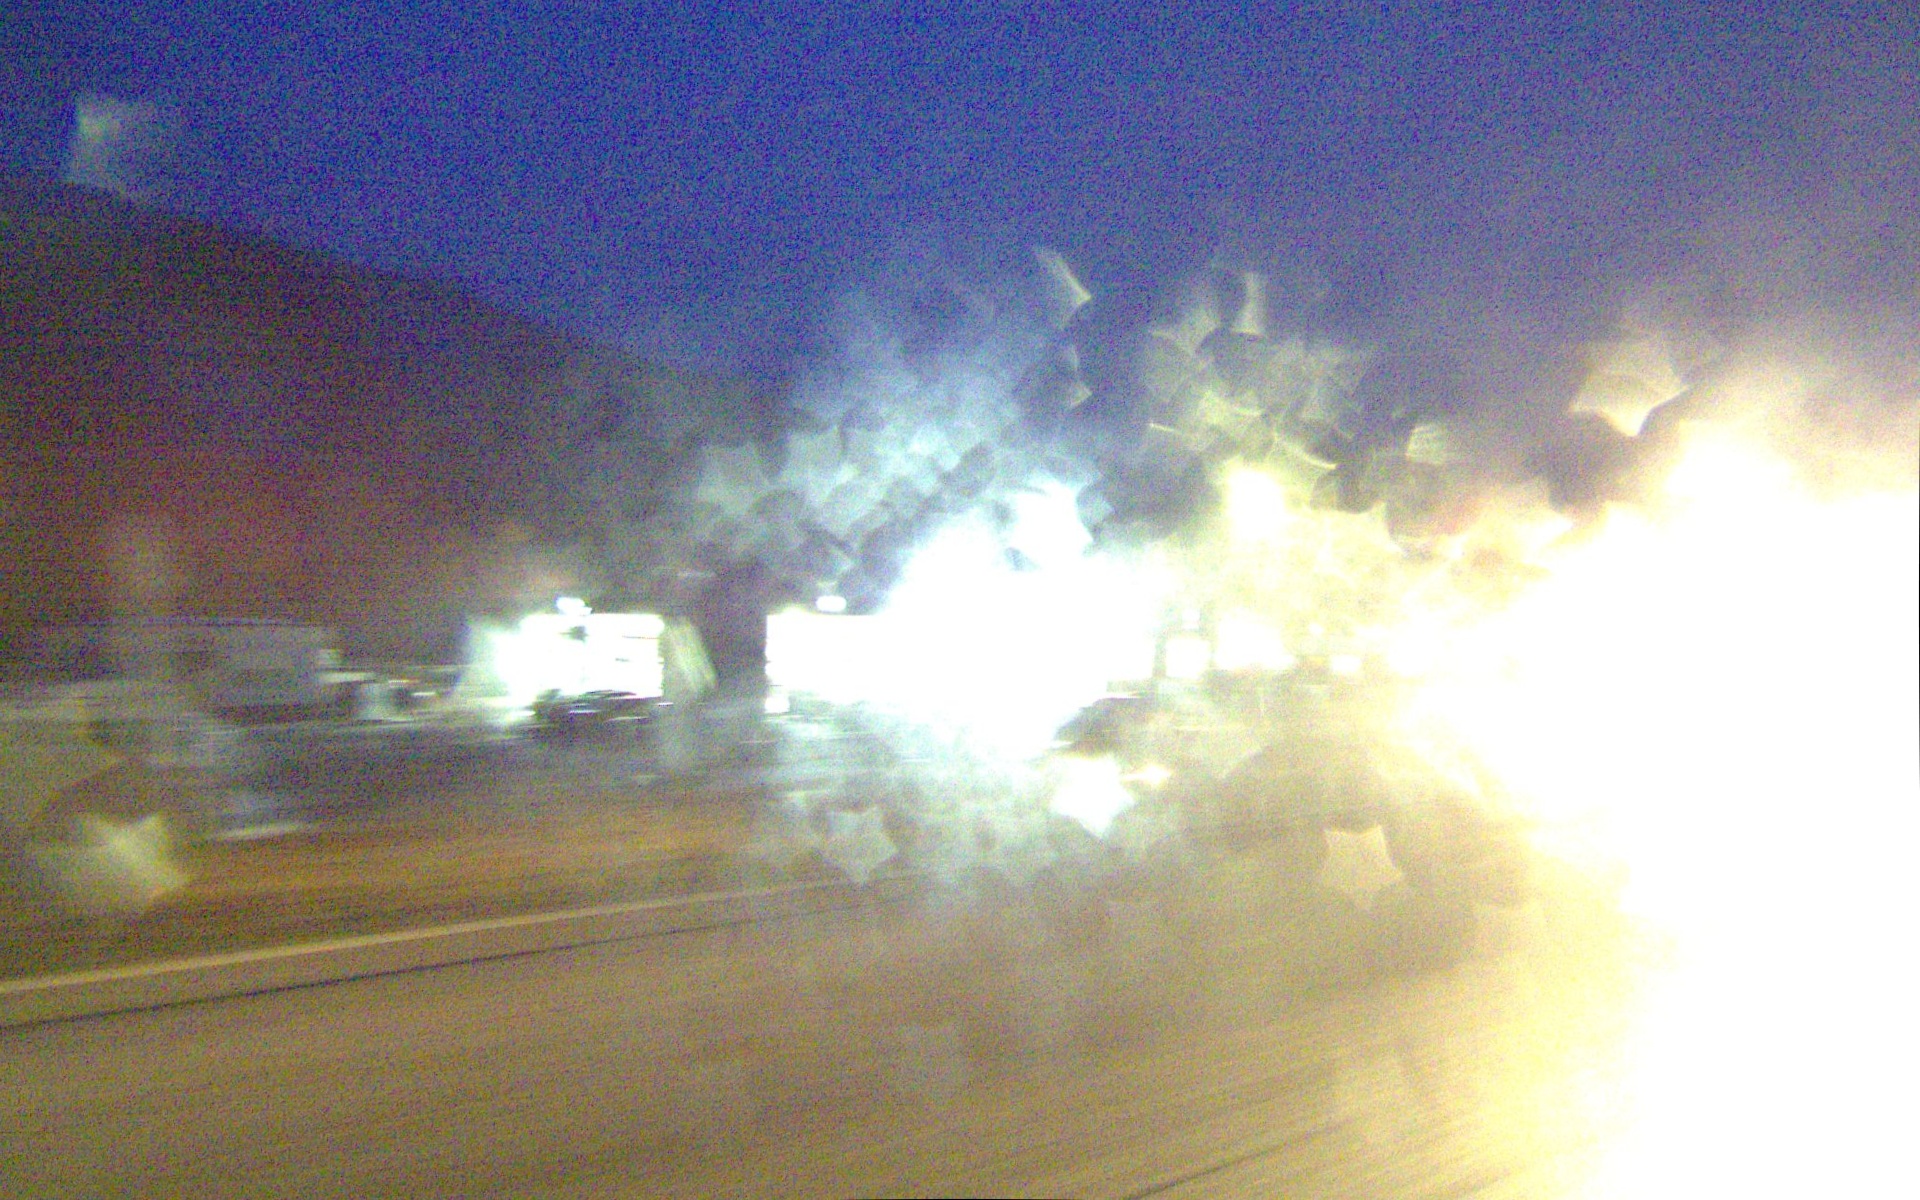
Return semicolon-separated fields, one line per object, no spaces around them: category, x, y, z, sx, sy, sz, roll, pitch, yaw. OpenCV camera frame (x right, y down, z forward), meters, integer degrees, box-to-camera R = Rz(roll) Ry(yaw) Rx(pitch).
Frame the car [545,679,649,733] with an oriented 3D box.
car;-15.979;4.609;44.310;3.968;2.040;1.719;1;0;-40

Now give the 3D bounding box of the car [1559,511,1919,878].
car;6.871;0.547;7.576;4.822;2.029;1.882;1;1;-30

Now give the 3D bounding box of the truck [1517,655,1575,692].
truck;44.153;5.520;75.612;5.129;2.665;1.760;3;-7;-37

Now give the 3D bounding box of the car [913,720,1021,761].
car;0.153;4.621;33.362;1.826;1.216;3.971;3;-7;-30

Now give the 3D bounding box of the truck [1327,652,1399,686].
truck;31.999;5.406;79.737;6.433;2.495;2.303;2;-1;-37

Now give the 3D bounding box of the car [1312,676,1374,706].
car;22.449;5.313;58.867;3.478;1.638;1.670;3;-6;-35

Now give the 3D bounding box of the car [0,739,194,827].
car;-20.245;4.135;22.953;4.246;1.735;1.710;3;-7;-36

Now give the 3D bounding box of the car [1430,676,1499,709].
car;26.546;4.847;52.839;3.478;1.638;1.735;3;-6;-35

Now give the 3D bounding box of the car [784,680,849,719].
car;-7.241;4.997;50.377;1.910;1.879;3.971;3;-7;-30

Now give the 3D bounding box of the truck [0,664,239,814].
truck;-22.605;3.432;25.323;6.982;3.524;2.452;3;-7;-35

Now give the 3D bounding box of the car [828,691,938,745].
car;-3.079;4.643;39.917;3.930;1.662;1.996;1;0;31

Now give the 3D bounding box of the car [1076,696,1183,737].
car;6.350;4.402;38.099;1.889;1.473;3.971;3;-7;-30

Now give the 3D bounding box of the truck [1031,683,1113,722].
truck;6.564;6.008;58.833;4.451;2.145;2.071;3;-7;-35

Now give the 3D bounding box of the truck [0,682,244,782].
truck;-30.019;4.657;36.400;6.505;3.301;2.419;3;-7;-36

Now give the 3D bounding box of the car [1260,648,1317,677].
car;27.448;5.236;83.944;4.404;2.295;1.985;2;0;-29

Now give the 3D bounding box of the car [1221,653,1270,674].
car;25.130;5.589;88.321;3.948;1.735;1.852;2;-1;-27

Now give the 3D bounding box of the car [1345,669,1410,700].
car;23.595;4.767;56.770;3.478;1.638;1.735;3;-6;-35

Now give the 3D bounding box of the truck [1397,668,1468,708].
truck;30.619;5.693;65.029;4.766;2.475;1.763;2;-7;-33

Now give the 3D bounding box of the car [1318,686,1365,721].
car;18.918;5.099;49.756;1.783;1.587;4.205;-3;-5;25

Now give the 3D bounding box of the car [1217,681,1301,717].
car;14.141;4.638;47.345;1.971;1.587;4.832;-4;-6;40

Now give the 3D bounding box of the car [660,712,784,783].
car;-7.981;4.890;33.776;3.691;1.932;1.703;1;0;-39

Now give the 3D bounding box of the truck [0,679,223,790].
truck;-28.149;4.234;32.304;6.986;3.301;2.419;3;-7;-36

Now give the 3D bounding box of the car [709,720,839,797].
car;-5.853;4.937;31.762;3.691;1.932;1.703;1;0;-39

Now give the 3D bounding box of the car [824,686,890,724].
car;-5.365;5.429;52.028;1.977;1.879;3.971;3;-7;-30

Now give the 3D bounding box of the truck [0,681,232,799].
truck;-25.288;3.936;28.816;6.986;3.136;2.419;3;-7;-36

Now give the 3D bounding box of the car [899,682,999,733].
car;-0.492;4.421;41.827;1.987;1.662;3.946;1;0;-45

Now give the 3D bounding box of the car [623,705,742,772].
car;-9.830;4.853;35.707;3.691;1.932;1.703;1;0;-39

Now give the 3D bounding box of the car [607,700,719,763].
car;-11.175;4.906;37.927;3.691;1.932;1.703;1;0;-39

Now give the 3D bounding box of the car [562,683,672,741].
car;-14.264;4.598;41.892;3.968;2.040;1.719;1;0;-40

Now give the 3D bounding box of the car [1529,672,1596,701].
car;35.483;5.062;59.124;3.957;1.616;1.763;2;-7;-33
